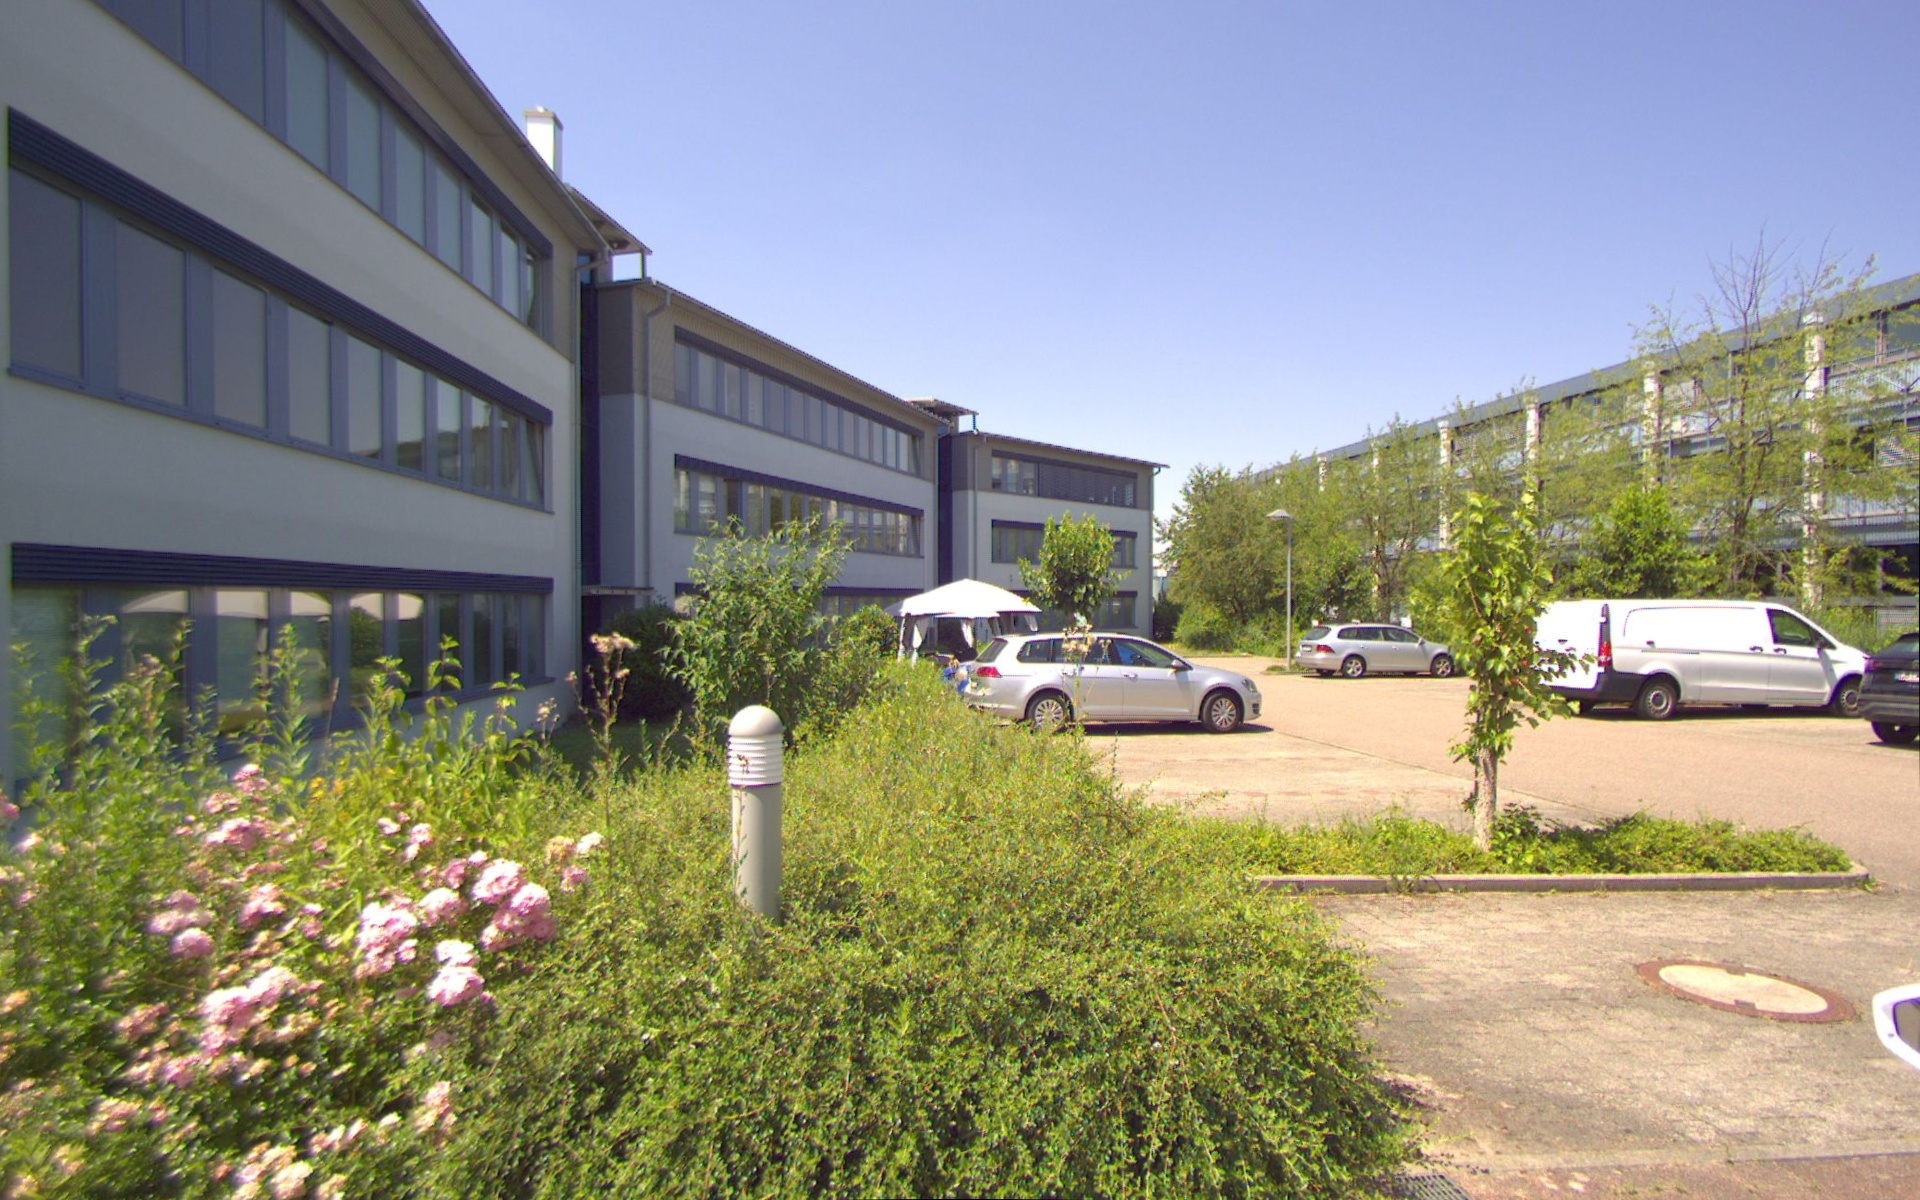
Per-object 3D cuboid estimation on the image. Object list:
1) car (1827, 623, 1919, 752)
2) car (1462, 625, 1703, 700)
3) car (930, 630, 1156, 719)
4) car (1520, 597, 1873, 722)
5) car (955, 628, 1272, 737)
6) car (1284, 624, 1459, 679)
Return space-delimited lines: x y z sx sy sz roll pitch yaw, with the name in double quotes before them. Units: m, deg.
"car" 13.136 1.032 12.483 3.935 1.496 1.754 0 -1 -17
"car" 12.663 1.243 20.561 3.924 1.460 1.787 0 -1 -5
"car" 1.461 1.335 18.776 3.924 1.481 1.999 -1 -1 -5
"car" 12.135 0.930 16.718 4.713 1.916 1.886 0 -1 -6
"car" 2.223 1.179 15.193 4.401 1.492 1.861 0 -1 -8
"car" 11.311 1.397 27.795 4.091 1.425 1.872 0 -1 -5
